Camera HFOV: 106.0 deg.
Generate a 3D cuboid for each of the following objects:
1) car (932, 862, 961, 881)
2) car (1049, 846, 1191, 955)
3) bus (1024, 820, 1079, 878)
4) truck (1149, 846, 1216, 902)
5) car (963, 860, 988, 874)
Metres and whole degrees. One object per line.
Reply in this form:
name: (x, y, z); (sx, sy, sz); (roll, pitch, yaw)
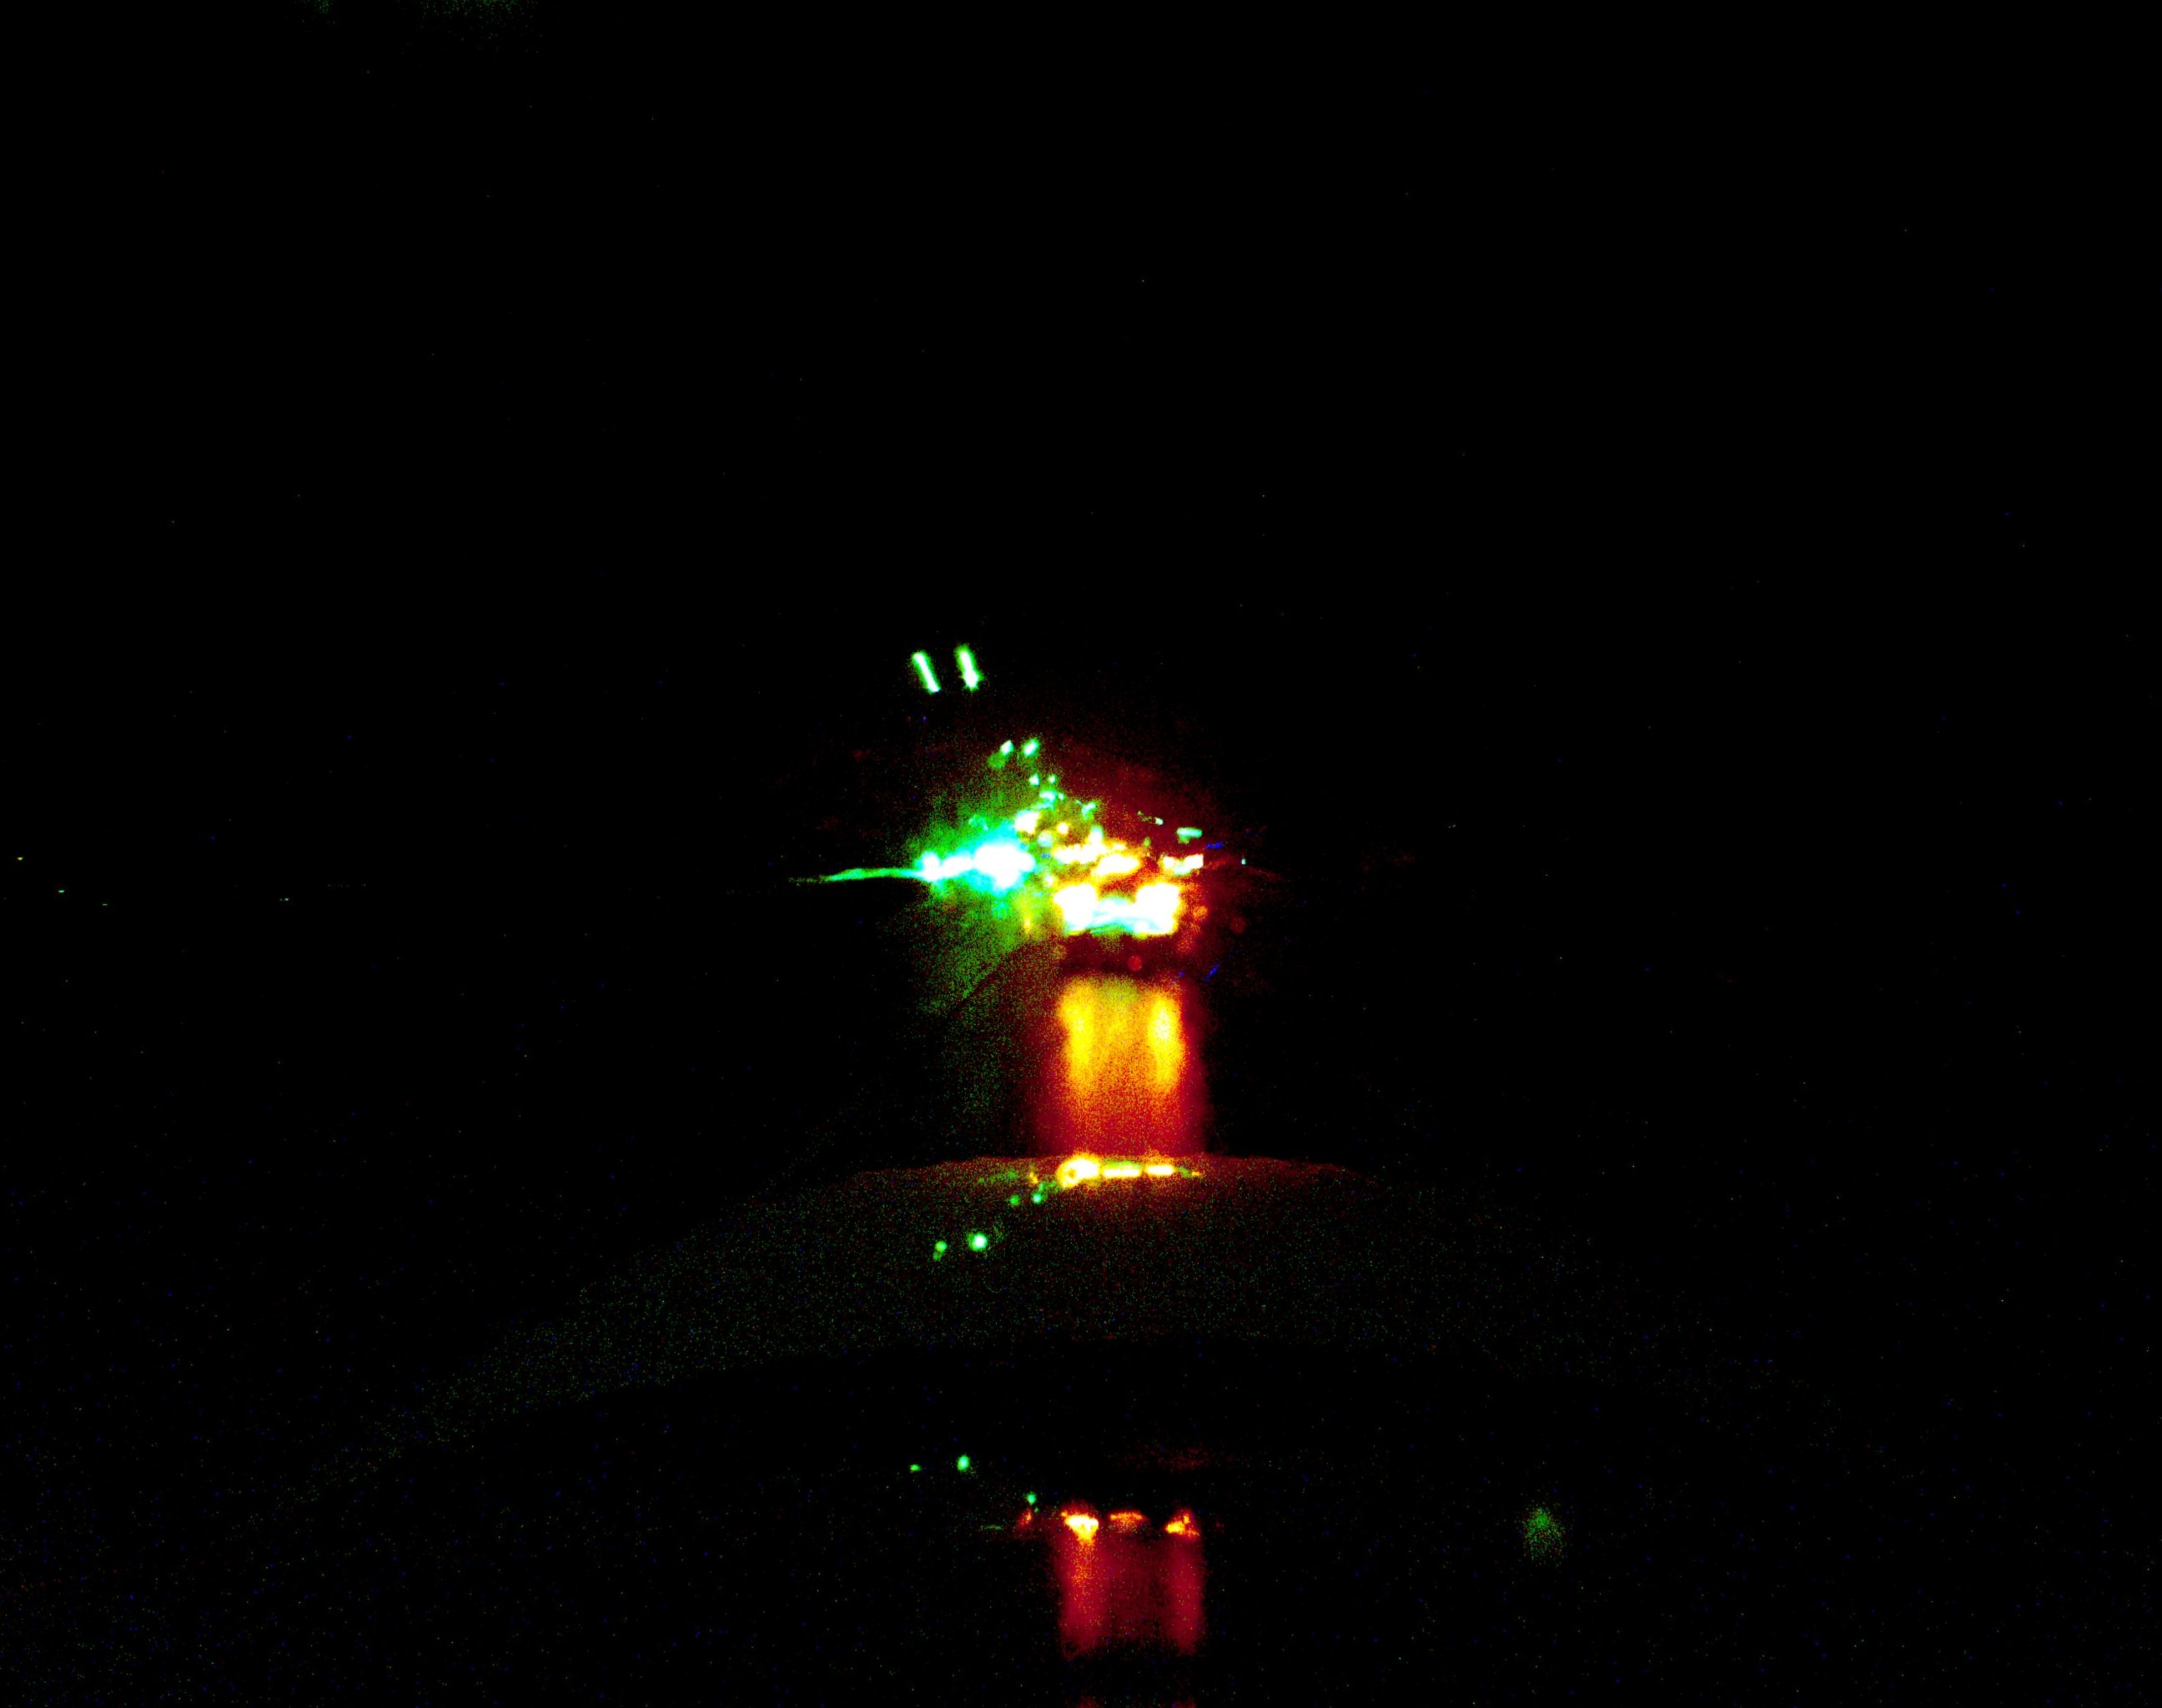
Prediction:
car: (-11.270, 1.501, 68.432); (1.594, 1.552, 3.835); (1, -1, 2)
car: (0.719, 0.658, 13.100); (1.934, 1.491, 3.722); (-1, 0, 6)
bus: (-1.591, -0.302, 48.643); (2.734, 3.123, 9.203); (1, 0, 1)
truck: (5.124, 0.979, 40.936); (3.053, 2.528, 7.180); (0, -1, 7)
car: (-11.764, 1.434, 90.948); (2.016, 1.502, 4.897); (1, -1, 1)
